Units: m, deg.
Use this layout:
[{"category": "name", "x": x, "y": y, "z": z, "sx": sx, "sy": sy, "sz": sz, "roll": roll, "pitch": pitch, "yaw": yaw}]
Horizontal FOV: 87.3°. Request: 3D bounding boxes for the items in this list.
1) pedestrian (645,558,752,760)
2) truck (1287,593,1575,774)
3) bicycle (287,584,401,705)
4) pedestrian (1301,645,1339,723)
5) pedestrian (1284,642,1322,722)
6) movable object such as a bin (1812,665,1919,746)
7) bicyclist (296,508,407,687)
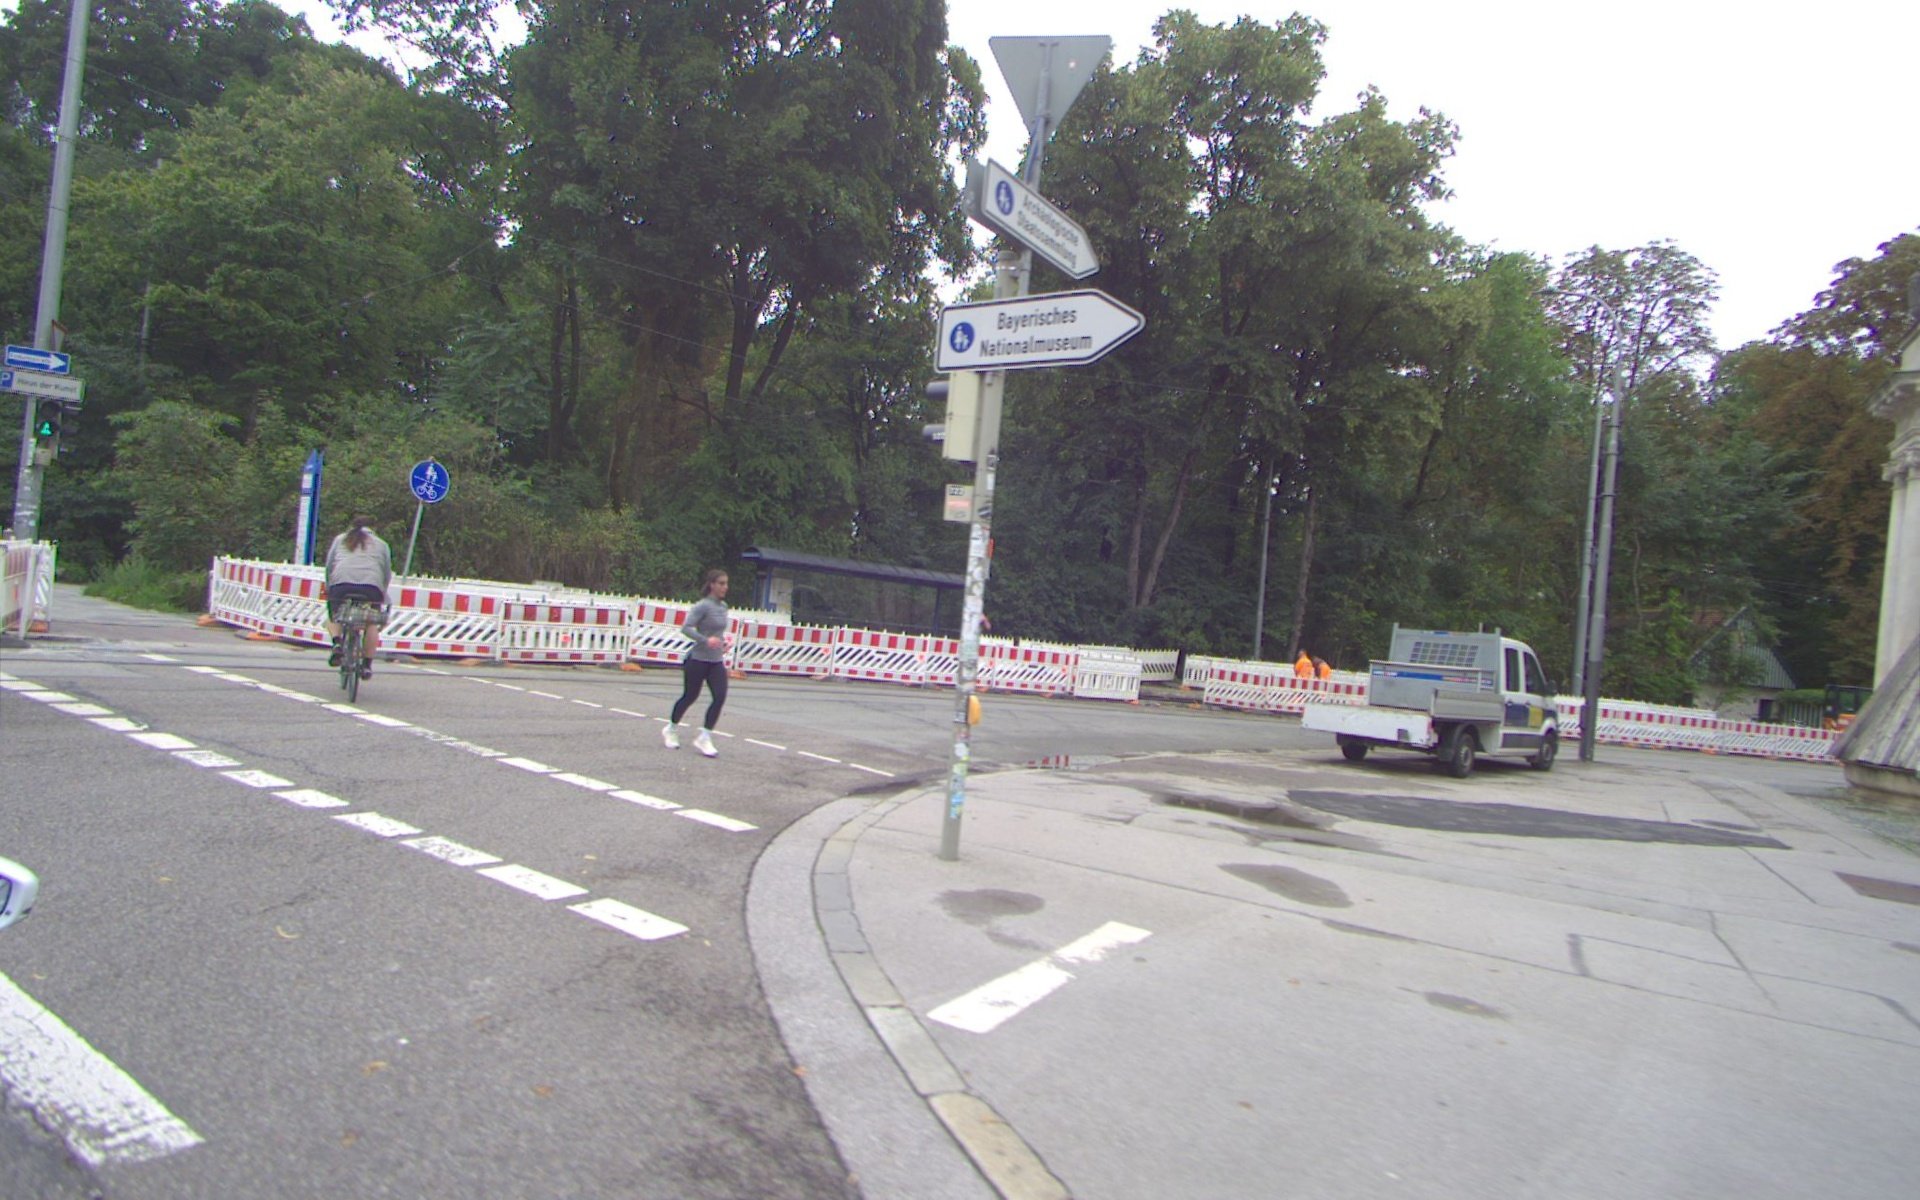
[{"category": "pedestrian", "x": -2.552, "y": 0.566, "z": 9.807, "sx": 0.762, "sy": 1.784, "sz": 1.065, "roll": 7, "pitch": -2, "yaw": -16}, {"category": "truck", "x": 8.286, "y": 1.539, "z": 17.348, "sx": 5.900, "sy": 2.522, "sz": 2.268, "roll": 9, "pitch": -4, "yaw": -42}, {"category": "bicycle", "x": -6.312, "y": 0.424, "z": 10.418, "sx": 0.732, "sy": 1.069, "sz": 2.150, "roll": 7, "pitch": -3, "yaw": -27}, {"category": "pedestrian", "x": 10.293, "y": 2.406, "z": 28.725, "sx": 0.683, "sy": 2.133, "sz": 0.558, "roll": 8, "pitch": -2, "yaw": -37}, {"category": "pedestrian", "x": 9.567, "y": 2.284, "z": 28.068, "sx": 0.683, "sy": 2.133, "sz": 0.557, "roll": 8, "pitch": -2, "yaw": -39}, {"category": "movable object such as a bin", "x": 31.265, "y": 3.637, "z": 34.670, "sx": 3.725, "sy": 2.339, "sz": 1.314, "roll": 8, "pitch": -2, "yaw": -24}, {"category": "bicyclist", "x": -6.233, "y": -0.016, "z": 10.355, "sx": 0.750, "sy": 1.686, "sz": 0.893, "roll": 7, "pitch": -2, "yaw": -28}]
